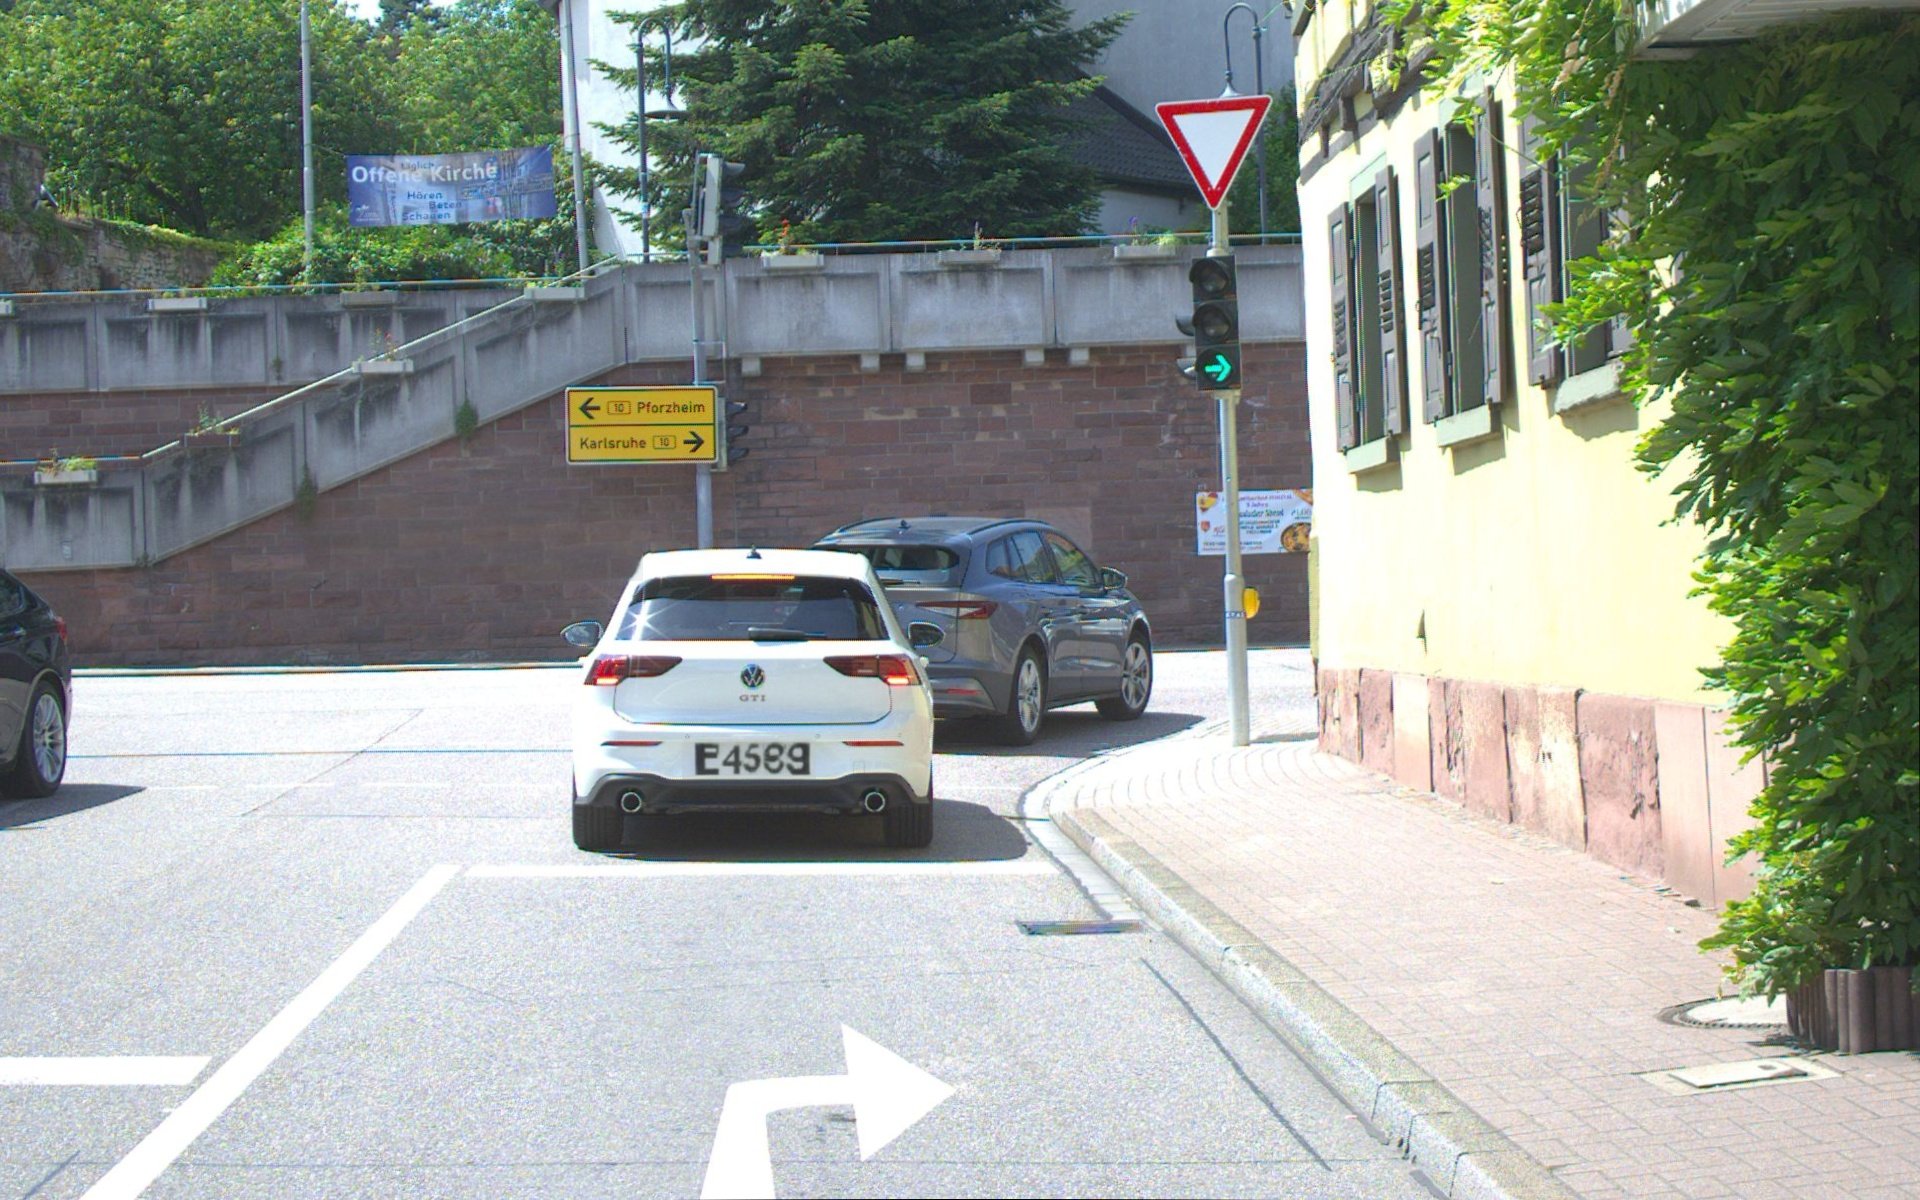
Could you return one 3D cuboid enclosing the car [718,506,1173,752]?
[{"bbox_3d":[0.006,0.149,25.715,1.951,1.577,4.322,0,3,21],"label":"car"}]

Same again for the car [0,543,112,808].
[{"bbox_3d":[-6.341,0.481,18.686,1.797,1.482,4.796,-3,1,6],"label":"car"}]

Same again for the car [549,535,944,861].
[{"bbox_3d":[-1.065,0.432,17.802,1.782,1.453,3.863,-2,1,-2],"label":"car"}]
